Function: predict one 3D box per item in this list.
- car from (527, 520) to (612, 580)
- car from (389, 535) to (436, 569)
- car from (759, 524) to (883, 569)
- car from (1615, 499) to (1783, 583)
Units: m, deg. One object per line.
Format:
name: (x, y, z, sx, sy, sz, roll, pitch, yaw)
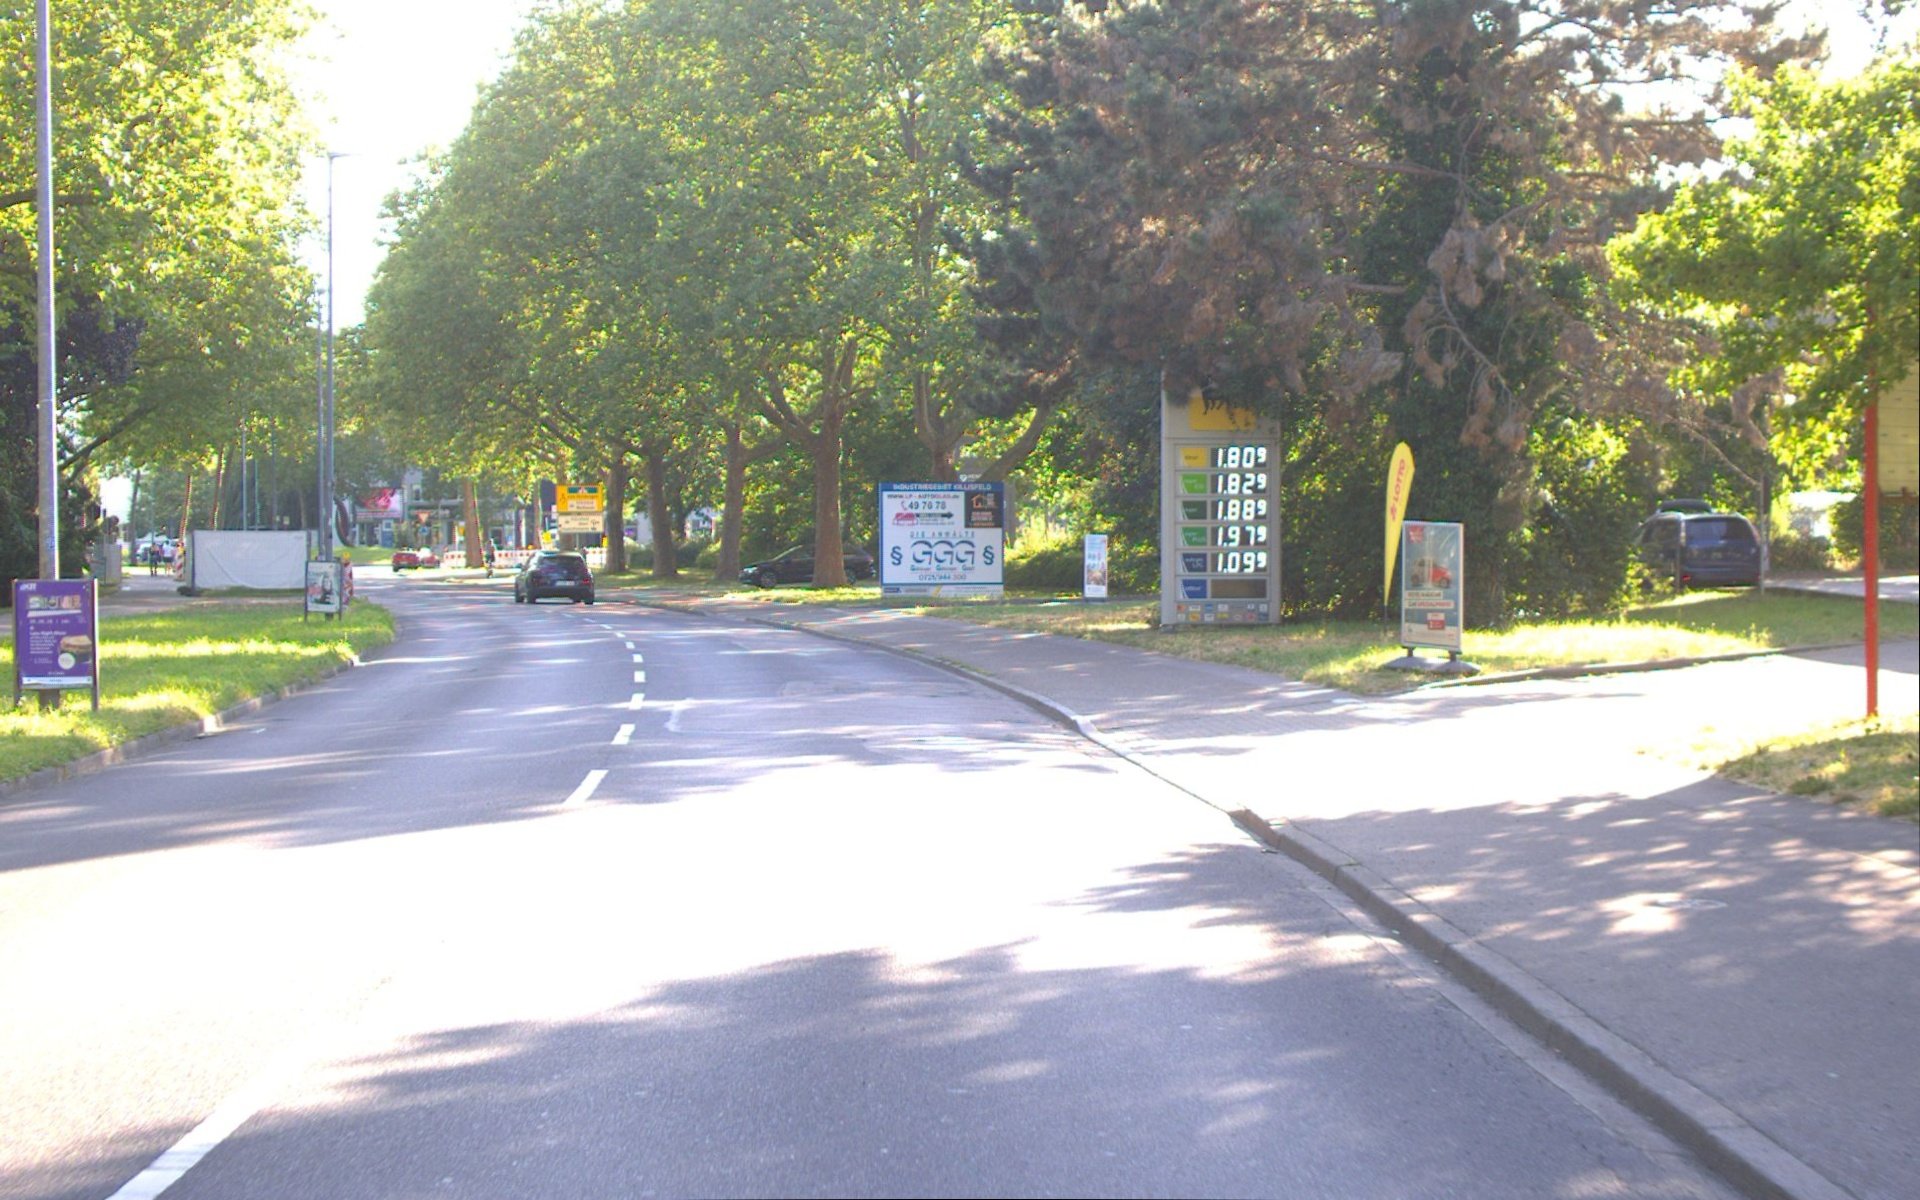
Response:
car: (-10.632, -1.380, 93.862, 1.839, 1.600, 3.863, 0, 1, 1)
car: (-32.550, -2.861, 204.490, 1.994, 2.007, 4.000, 0, 1, 3)
car: (-4.715, -1.809, 116.730, 3.986, 1.438, 1.761, -1, 1, -10)
car: (12.889, -1.047, 60.182, 1.841, 1.415, 4.001, 0, 1, -4)
